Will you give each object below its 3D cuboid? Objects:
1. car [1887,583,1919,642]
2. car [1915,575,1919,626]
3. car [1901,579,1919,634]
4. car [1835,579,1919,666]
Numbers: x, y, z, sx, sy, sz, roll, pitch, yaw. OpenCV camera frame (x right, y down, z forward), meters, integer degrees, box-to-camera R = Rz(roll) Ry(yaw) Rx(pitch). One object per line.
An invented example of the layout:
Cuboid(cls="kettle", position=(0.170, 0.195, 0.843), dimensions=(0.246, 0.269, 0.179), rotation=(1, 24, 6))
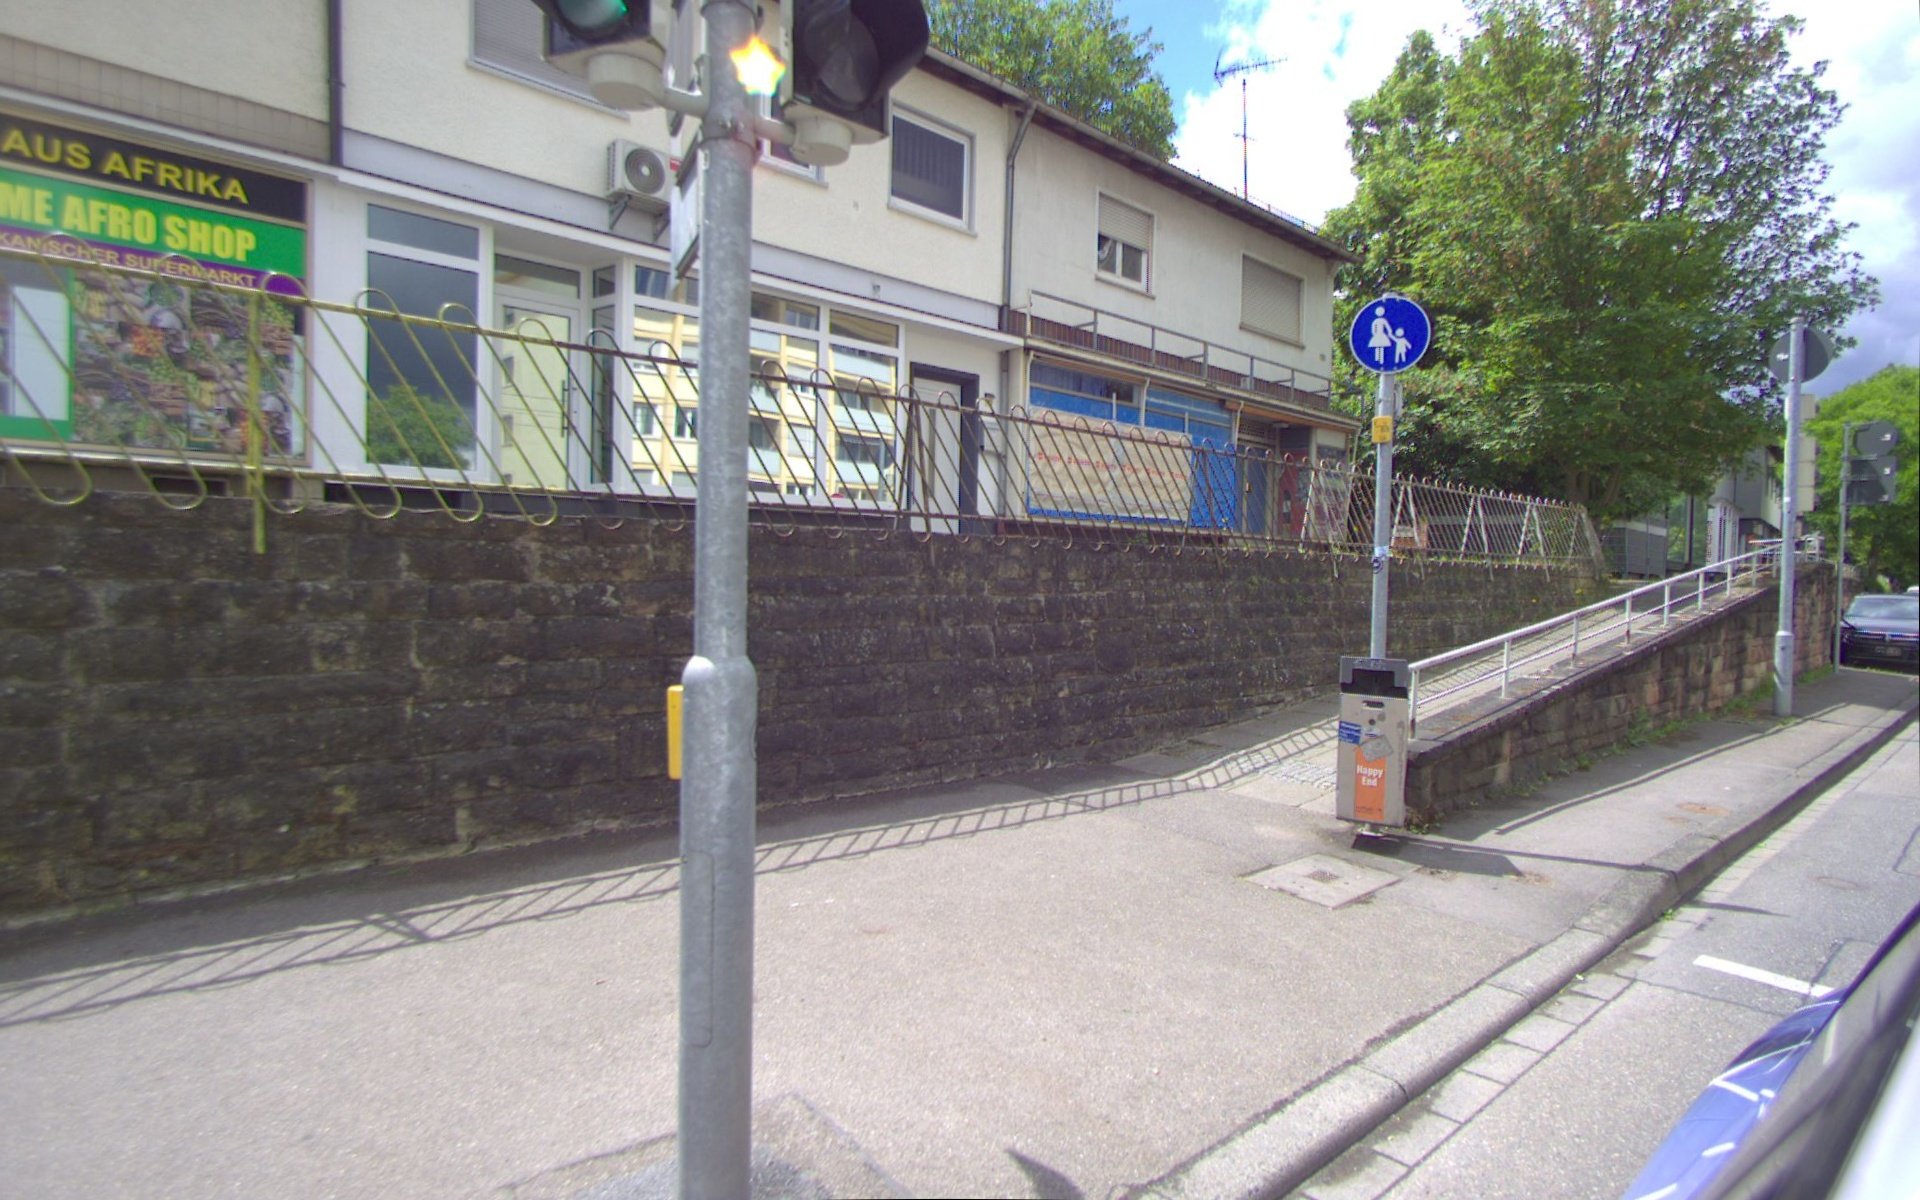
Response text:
Cuboid(cls="car", position=(28.037, 0.373, 29.107), dimensions=(4.106, 1.587, 1.757), rotation=(0, 3, -45))
Cuboid(cls="car", position=(41.104, 0.035, 42.023), dimensions=(4.888, 2.033, 1.851), rotation=(-1, 3, -45))
Cuboid(cls="car", position=(32.329, 0.211, 33.304), dimensions=(3.935, 1.737, 1.757), rotation=(-1, 3, -45))
Cuboid(cls="car", position=(19.297, 0.410, 20.696), dimensions=(3.956, 1.599, 1.757), rotation=(-1, 3, -45))
